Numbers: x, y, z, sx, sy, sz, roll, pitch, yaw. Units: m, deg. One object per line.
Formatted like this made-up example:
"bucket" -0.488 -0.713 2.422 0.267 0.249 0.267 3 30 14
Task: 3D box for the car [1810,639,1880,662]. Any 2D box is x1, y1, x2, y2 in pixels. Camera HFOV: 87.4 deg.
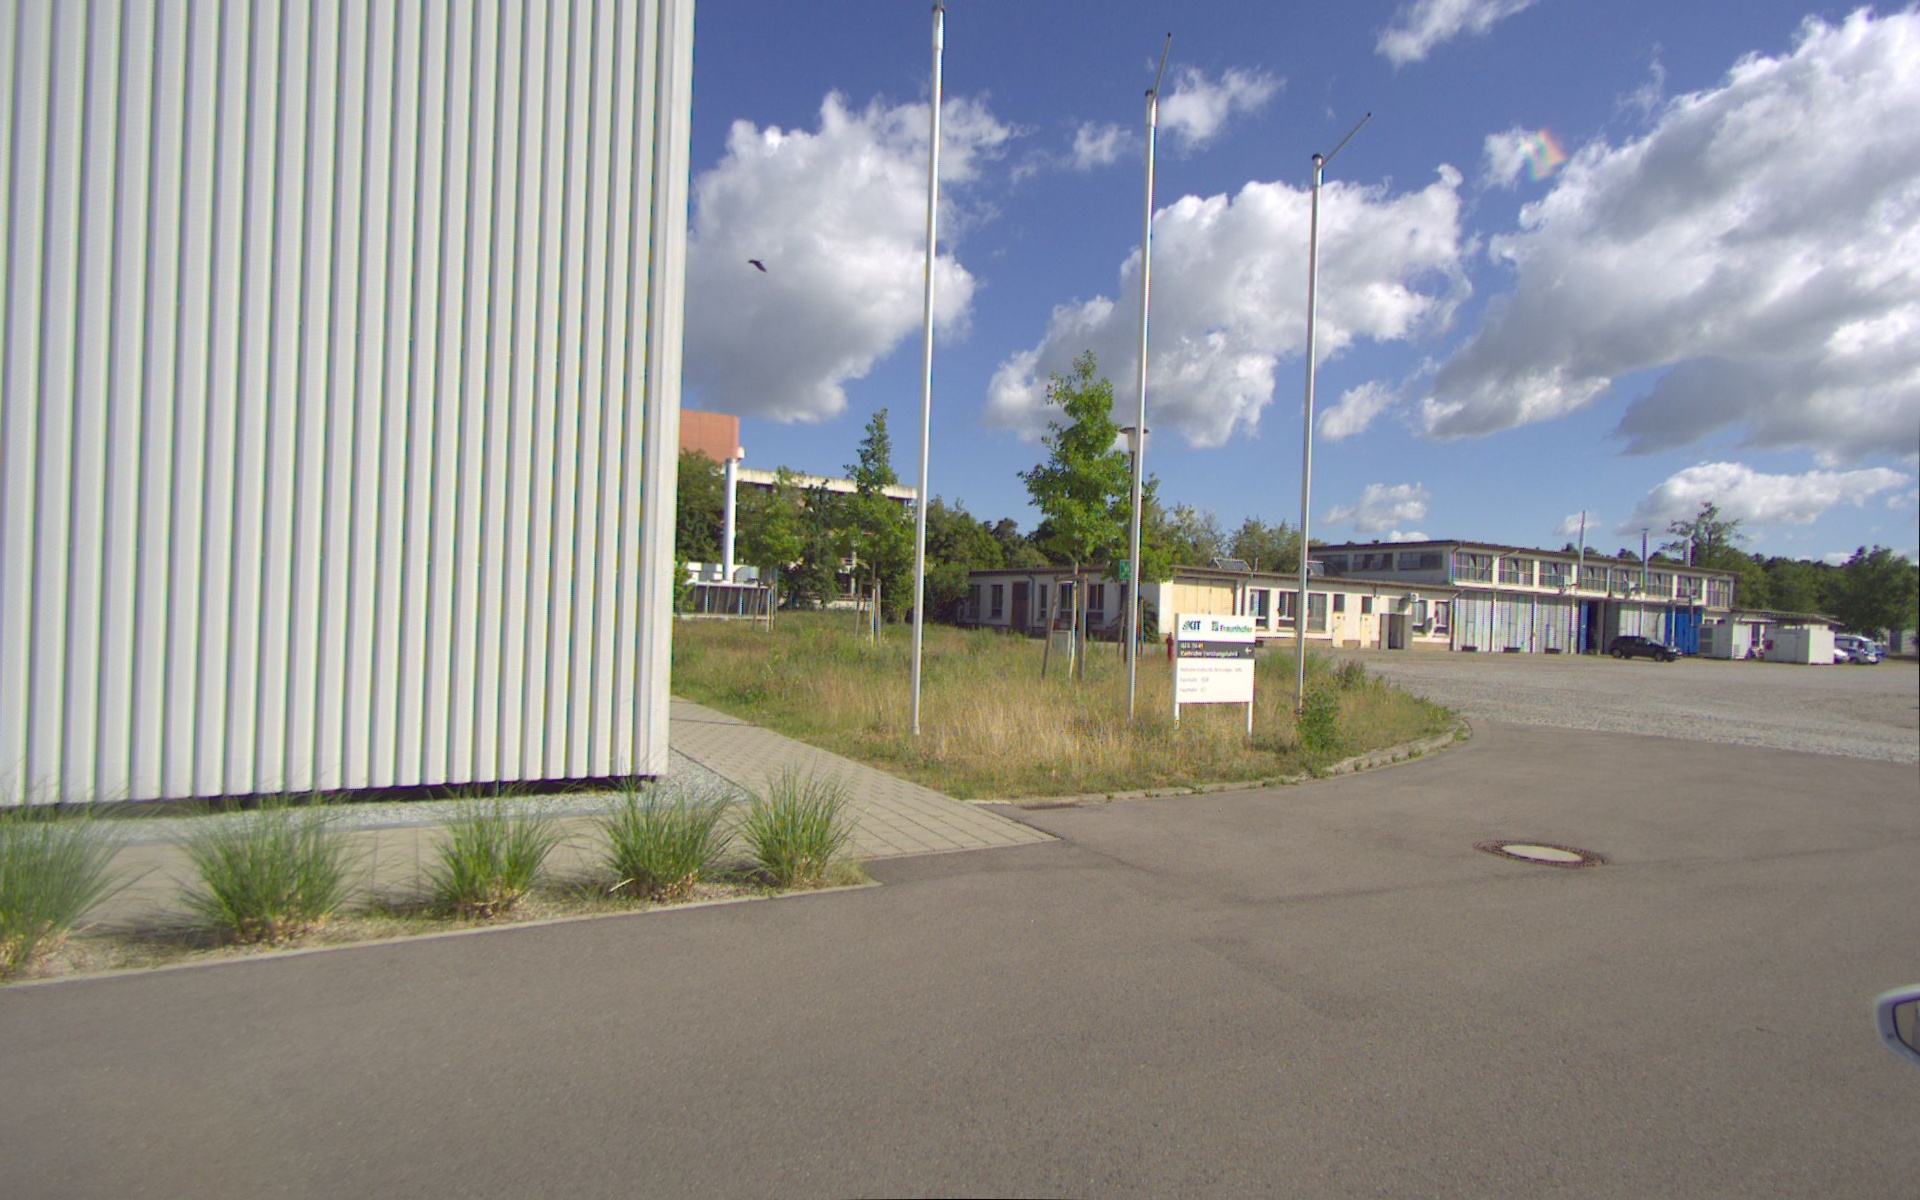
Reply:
"car" 75.857 4.308 86.121 1.784 1.652 4.097 3 0 -25

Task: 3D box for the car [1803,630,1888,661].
"car" 77.901 3.967 88.453 2.022 2.474 5.242 2 0 -25

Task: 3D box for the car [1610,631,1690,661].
"car" 47.479 3.153 69.207 1.763 1.688 4.140 3 1 -31
